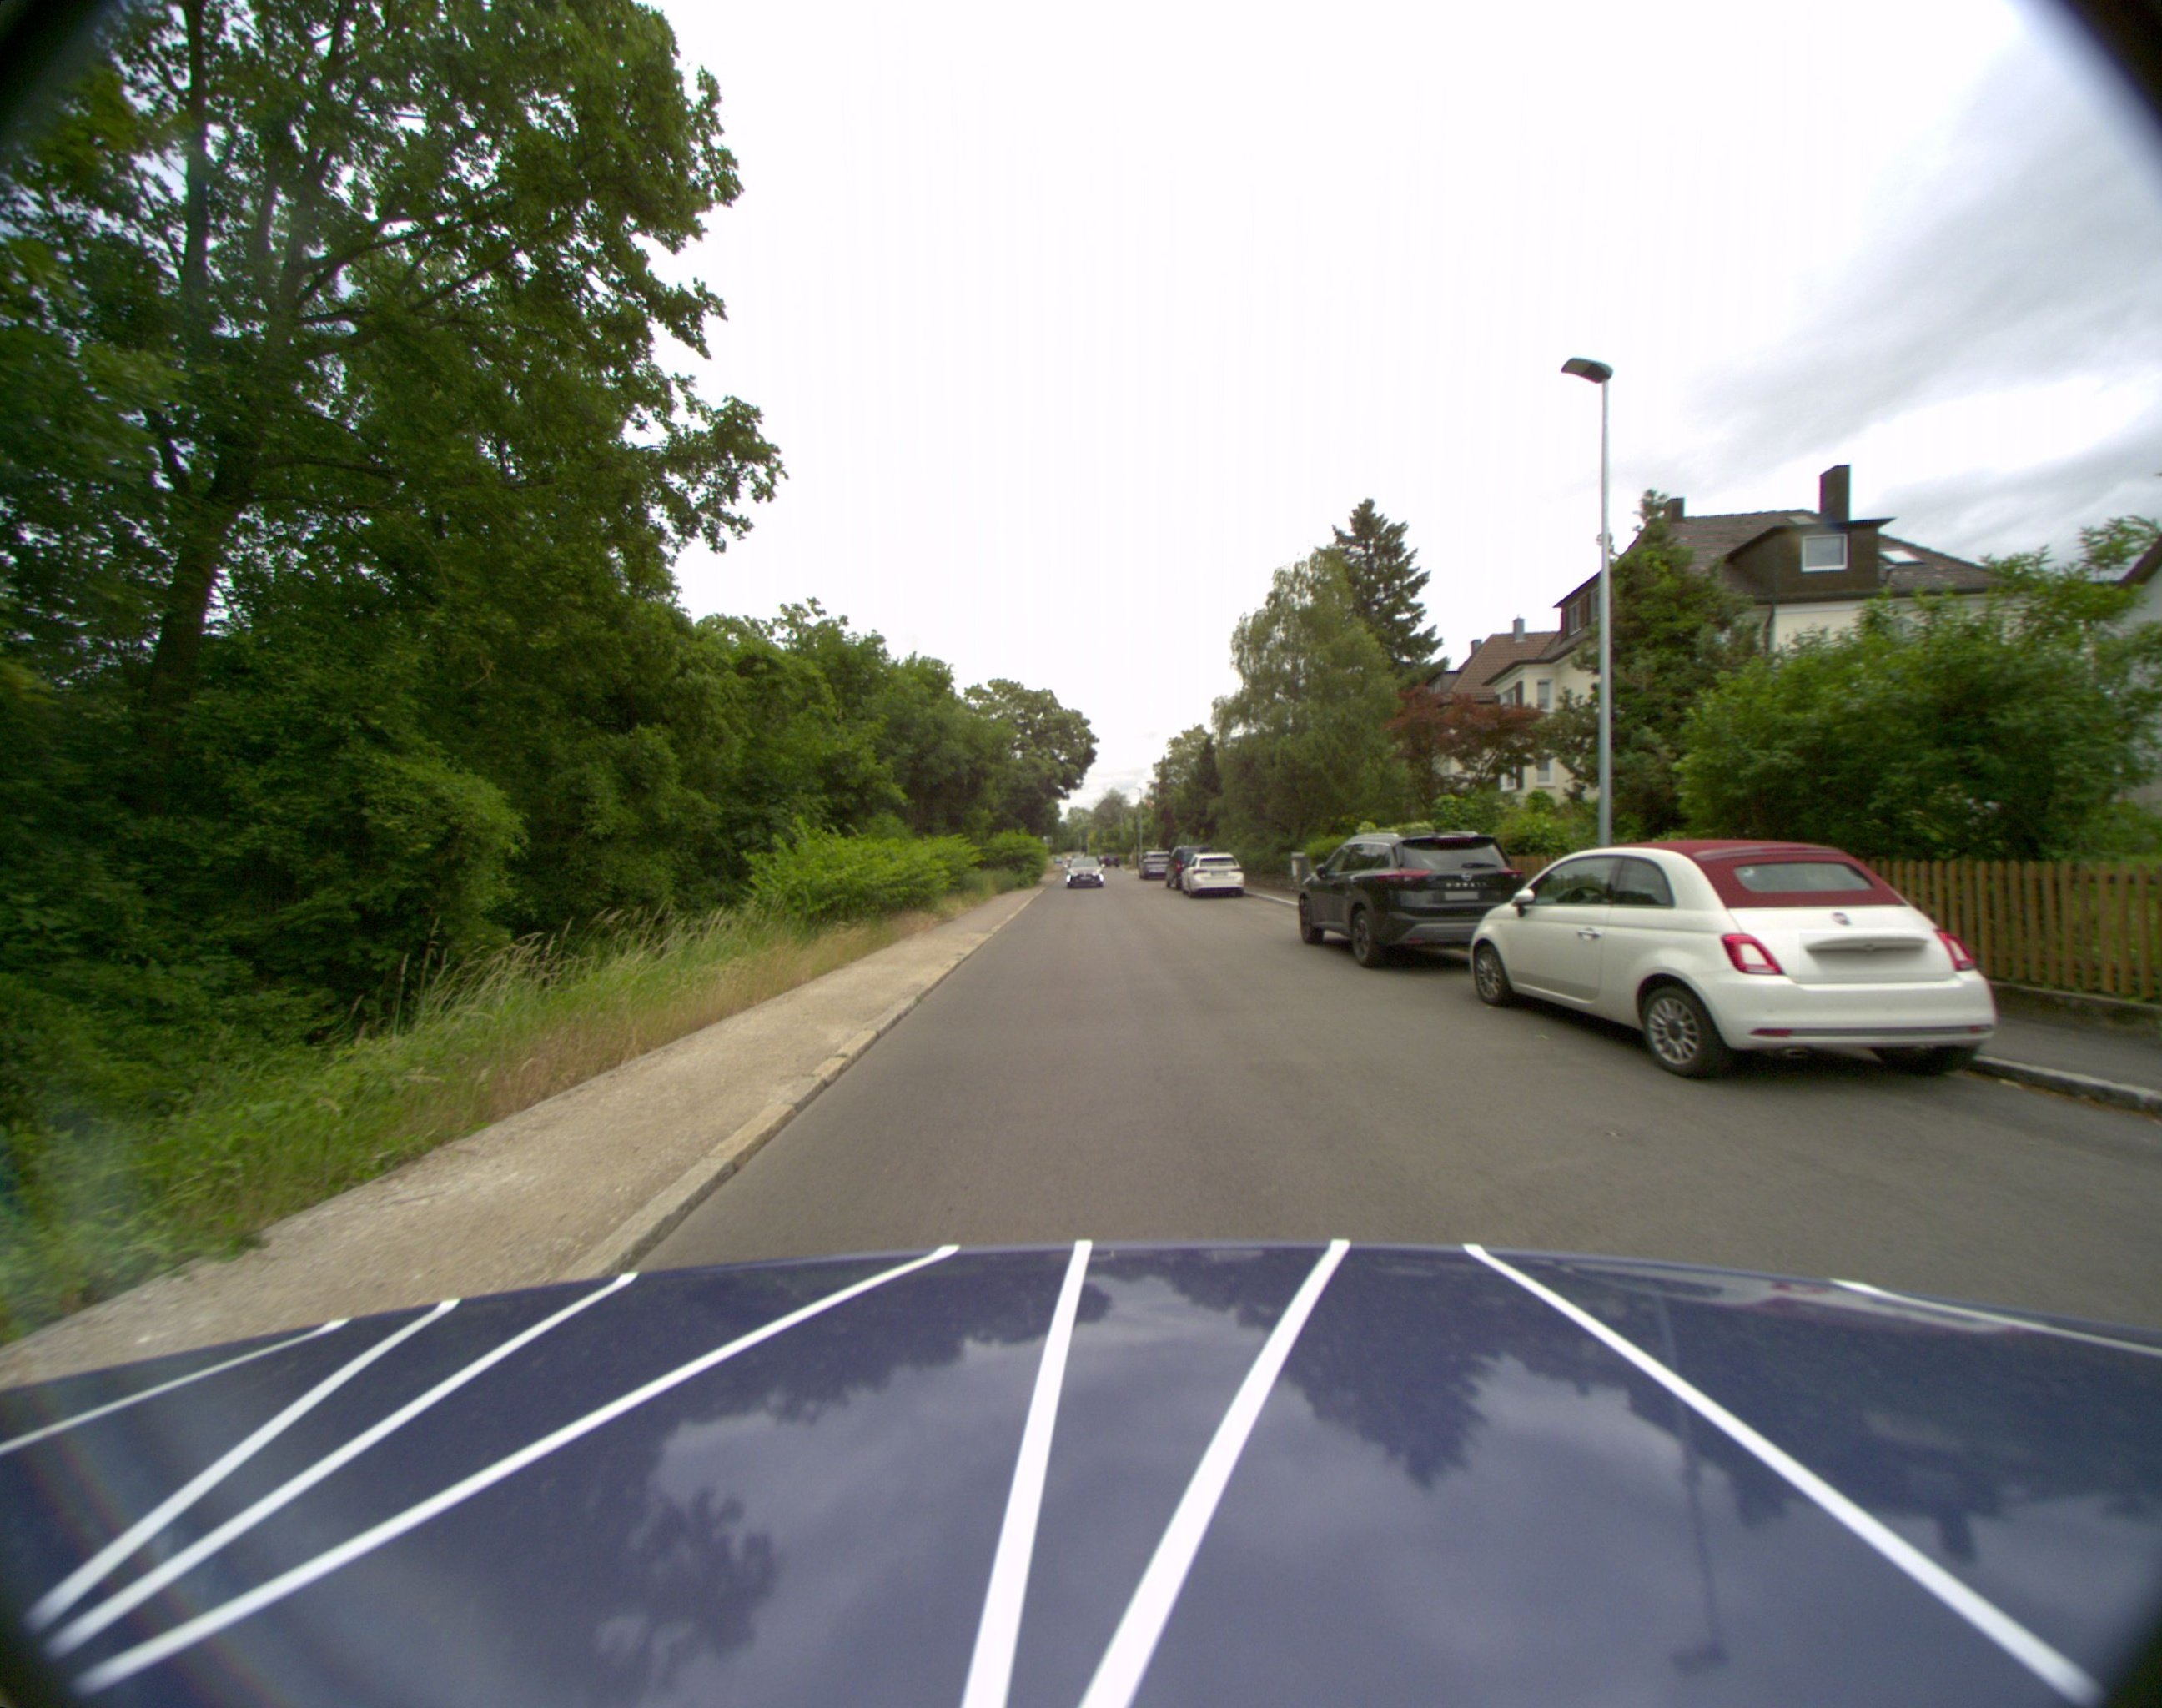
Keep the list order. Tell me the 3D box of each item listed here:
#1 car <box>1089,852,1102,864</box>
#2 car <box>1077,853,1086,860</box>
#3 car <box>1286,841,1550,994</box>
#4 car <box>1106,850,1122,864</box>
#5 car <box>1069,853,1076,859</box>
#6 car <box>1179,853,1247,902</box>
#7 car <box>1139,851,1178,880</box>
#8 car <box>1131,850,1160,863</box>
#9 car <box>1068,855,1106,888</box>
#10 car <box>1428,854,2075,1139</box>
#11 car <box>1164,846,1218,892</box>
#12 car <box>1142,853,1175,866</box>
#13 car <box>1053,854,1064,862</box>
[{"bbox_3d":[1.989,0.544,102.463,1.711,1.466,4.195,-2,0,1],"label":"car"},{"bbox_3d":[0.041,0.554,171.325,1.922,1.670,4.194,-2,0,-2],"label":"car"},{"bbox_3d":[4.334,0.707,10.644,1.796,1.654,4.392,-2,0,1],"label":"car"},{"bbox_3d":[4.200,0.402,96.297,1.922,1.670,4.195,-2,0,1],"label":"car"},{"bbox_3d":[-2.649,0.668,223.367,1.922,1.670,4.194,-2,0,-2],"label":"car"},{"bbox_3d":[4.452,0.741,26.235,1.711,1.502,4.555,-2,0,2],"label":"car"},{"bbox_3d":[4.563,0.638,45.101,1.800,1.598,4.730,-2,0,0],"label":"car"},{"bbox_3d":[8.481,0.274,99.734,3.772,1.581,1.641,-2,0,6],"label":"car"},{"bbox_3d":[0.329,0.790,36.912,1.711,1.466,4.195,-2,0,1],"label":"car"},{"bbox_3d":[4.550,0.775,6.104,1.711,1.502,3.946,-2,0,0],"label":"car"},{"bbox_3d":[4.575,0.588,32.116,1.711,1.789,4.298,-2,0,1],"label":"car"},{"bbox_3d":[9.085,0.648,89.144,3.774,1.306,1.641,-2,0,1],"label":"car"},{"bbox_3d":[-4.472,0.768,150.639,1.923,1.670,4.193,-2,0,-4],"label":"car"}]
